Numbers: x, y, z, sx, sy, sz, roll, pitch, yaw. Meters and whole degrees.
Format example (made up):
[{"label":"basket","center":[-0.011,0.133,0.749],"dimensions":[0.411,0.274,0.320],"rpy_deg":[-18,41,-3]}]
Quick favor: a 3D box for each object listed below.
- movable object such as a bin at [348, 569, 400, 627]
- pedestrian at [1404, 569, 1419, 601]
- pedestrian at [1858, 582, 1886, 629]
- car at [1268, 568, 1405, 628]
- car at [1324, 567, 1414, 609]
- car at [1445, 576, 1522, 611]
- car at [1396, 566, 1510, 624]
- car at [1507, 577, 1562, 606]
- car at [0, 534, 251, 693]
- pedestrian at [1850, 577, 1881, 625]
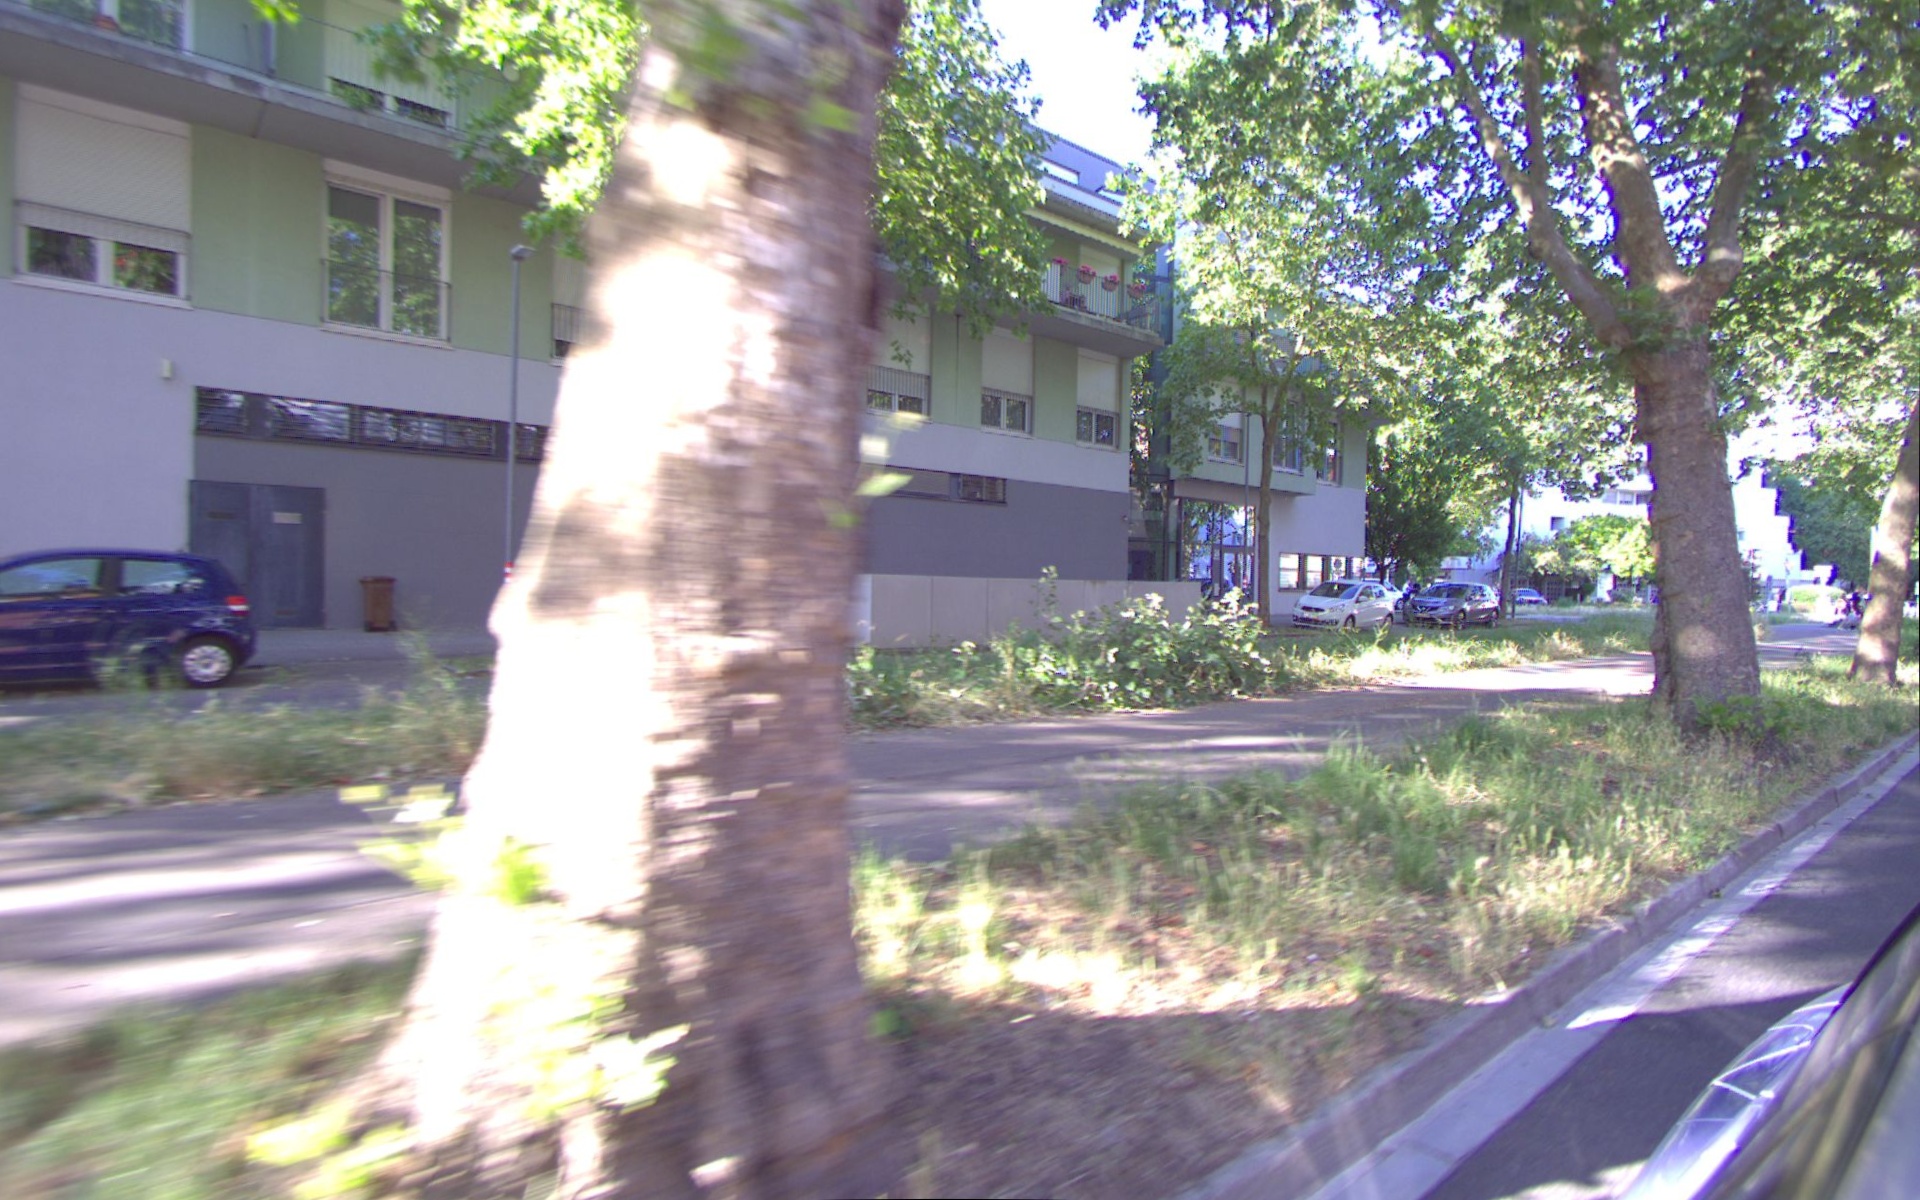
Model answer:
[{"label":"movable object such as a bin","center":[-9.899,-0.041,17.088],"dimensions":[0.651,0.955,0.630],"rpy_deg":[0,2,-40]},{"label":"pedestrian","center":[25.114,-0.832,56.339],"dimensions":[0.521,1.773,0.561],"rpy_deg":[-1,1,-29]},{"label":"pedestrian","center":[37.936,0.220,42.101],"dimensions":[0.782,1.903,0.792],"rpy_deg":[2,1,40]},{"label":"car","center":[10.854,-0.079,29.067],"dimensions":[4.244,1.562,1.862],"rpy_deg":[0,2,-41]},{"label":"car","center":[24.340,-0.727,60.201],"dimensions":[4.946,2.123,2.005],"rpy_deg":[4,0,-24]},{"label":"car","center":[27.671,-0.356,53.469],"dimensions":[3.906,1.542,1.678],"rpy_deg":[4,0,-29]},{"label":"car","center":[16.525,-0.189,33.837],"dimensions":[4.244,1.793,1.908],"rpy_deg":[0,2,-41]},{"label":"car","center":[37.794,-0.503,66.682],"dimensions":[1.910,1.680,4.457],"rpy_deg":[4,0,14]},{"label":"car","center":[-9.904,0.104,10.780],"dimensions":[3.694,1.572,1.862],"rpy_deg":[0,2,-41]},{"label":"pedestrian","center":[37.041,0.032,41.400],"dimensions":[0.835,1.956,0.771],"rpy_deg":[2,1,39]}]
